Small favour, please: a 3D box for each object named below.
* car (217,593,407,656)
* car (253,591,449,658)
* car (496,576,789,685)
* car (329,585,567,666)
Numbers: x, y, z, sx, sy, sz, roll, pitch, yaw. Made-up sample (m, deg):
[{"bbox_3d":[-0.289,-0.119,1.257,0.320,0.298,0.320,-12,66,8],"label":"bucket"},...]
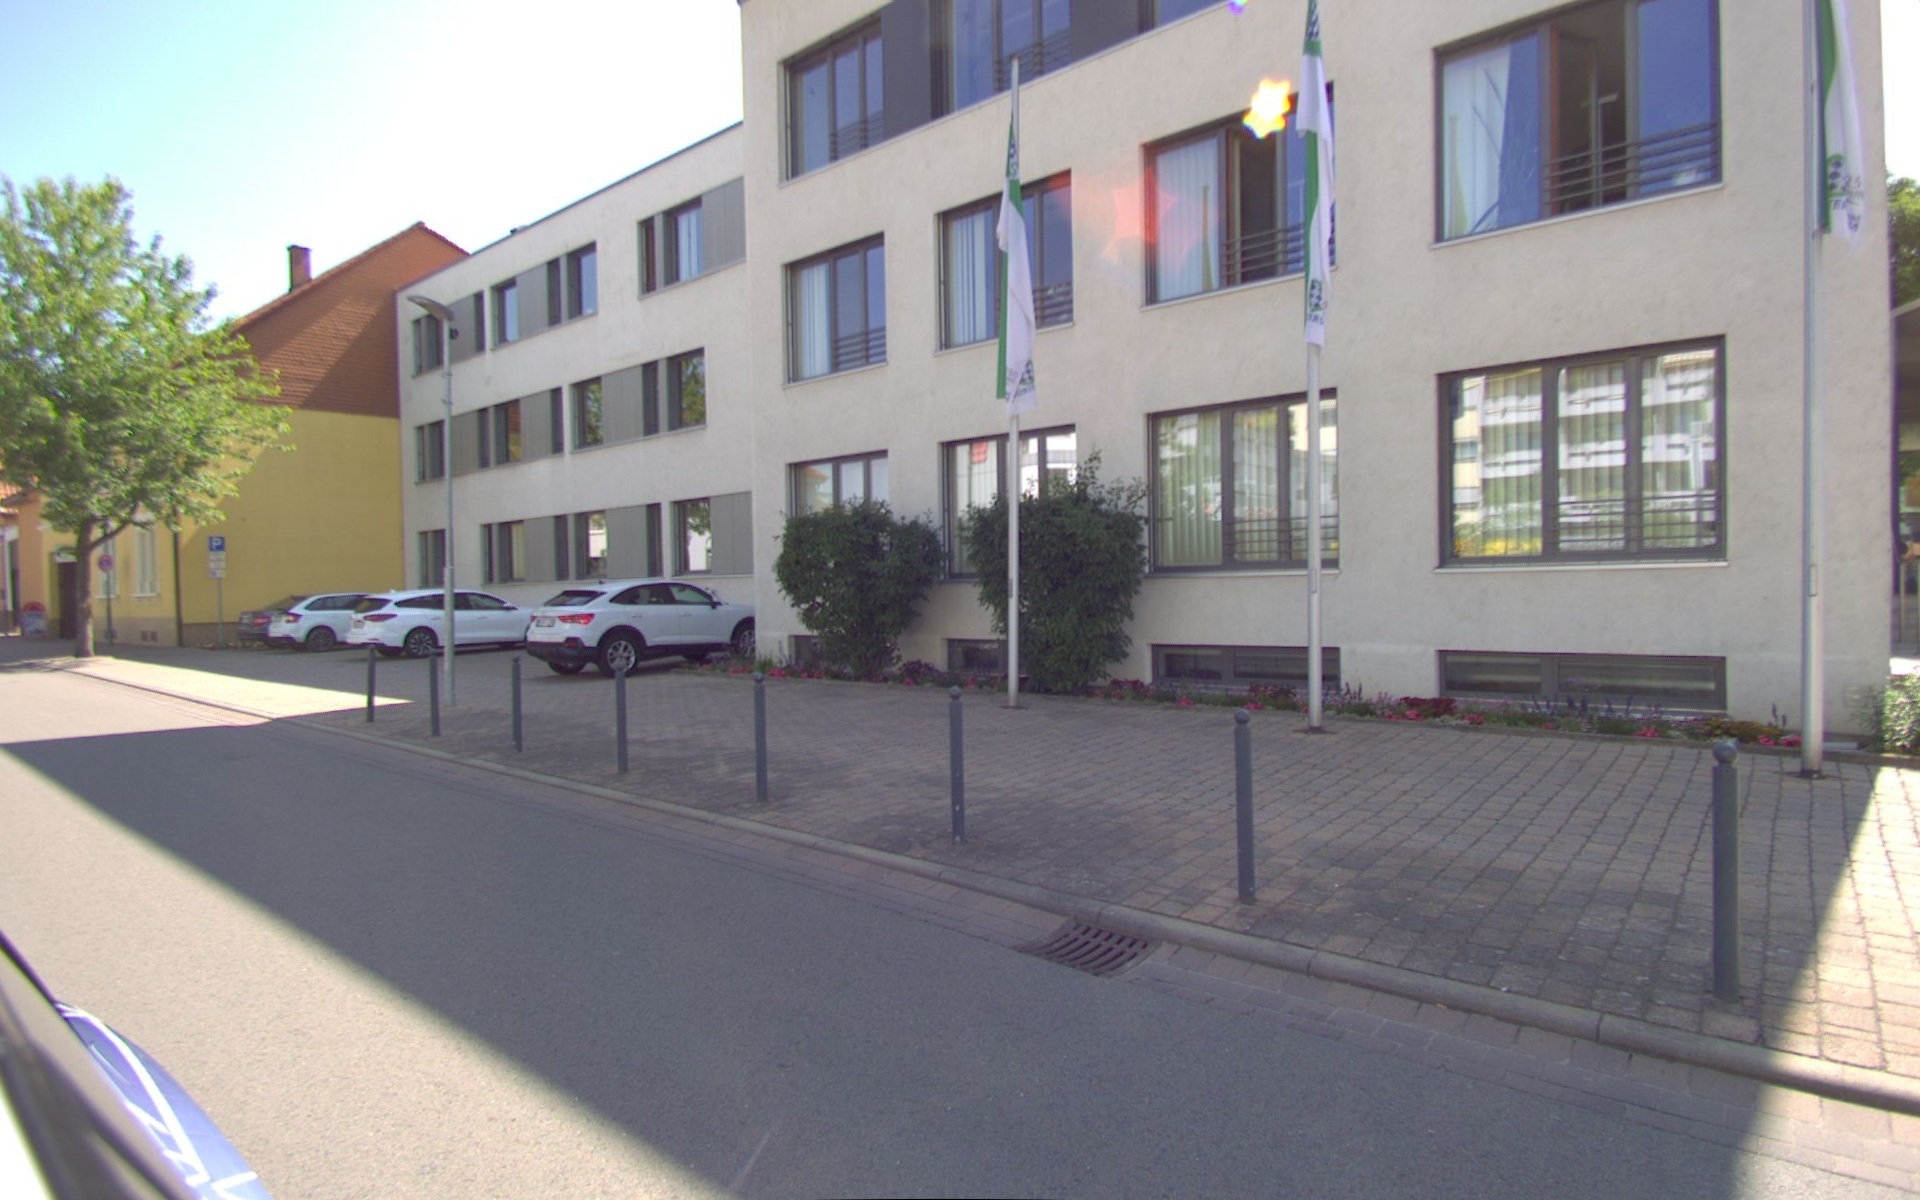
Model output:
[{"bbox_3d":[-17.732,0.633,27.846,1.968,1.442,3.952,-2,1,36],"label":"car"},{"bbox_3d":[-15.722,0.596,26.274,1.806,1.462,3.947,-1,1,40],"label":"car"},{"bbox_3d":[-5.428,0.429,17.793,2.145,1.565,4.463,-1,2,38],"label":"car"},{"bbox_3d":[-11.649,0.497,23.280,1.933,1.565,4.459,1,3,40],"label":"car"}]
